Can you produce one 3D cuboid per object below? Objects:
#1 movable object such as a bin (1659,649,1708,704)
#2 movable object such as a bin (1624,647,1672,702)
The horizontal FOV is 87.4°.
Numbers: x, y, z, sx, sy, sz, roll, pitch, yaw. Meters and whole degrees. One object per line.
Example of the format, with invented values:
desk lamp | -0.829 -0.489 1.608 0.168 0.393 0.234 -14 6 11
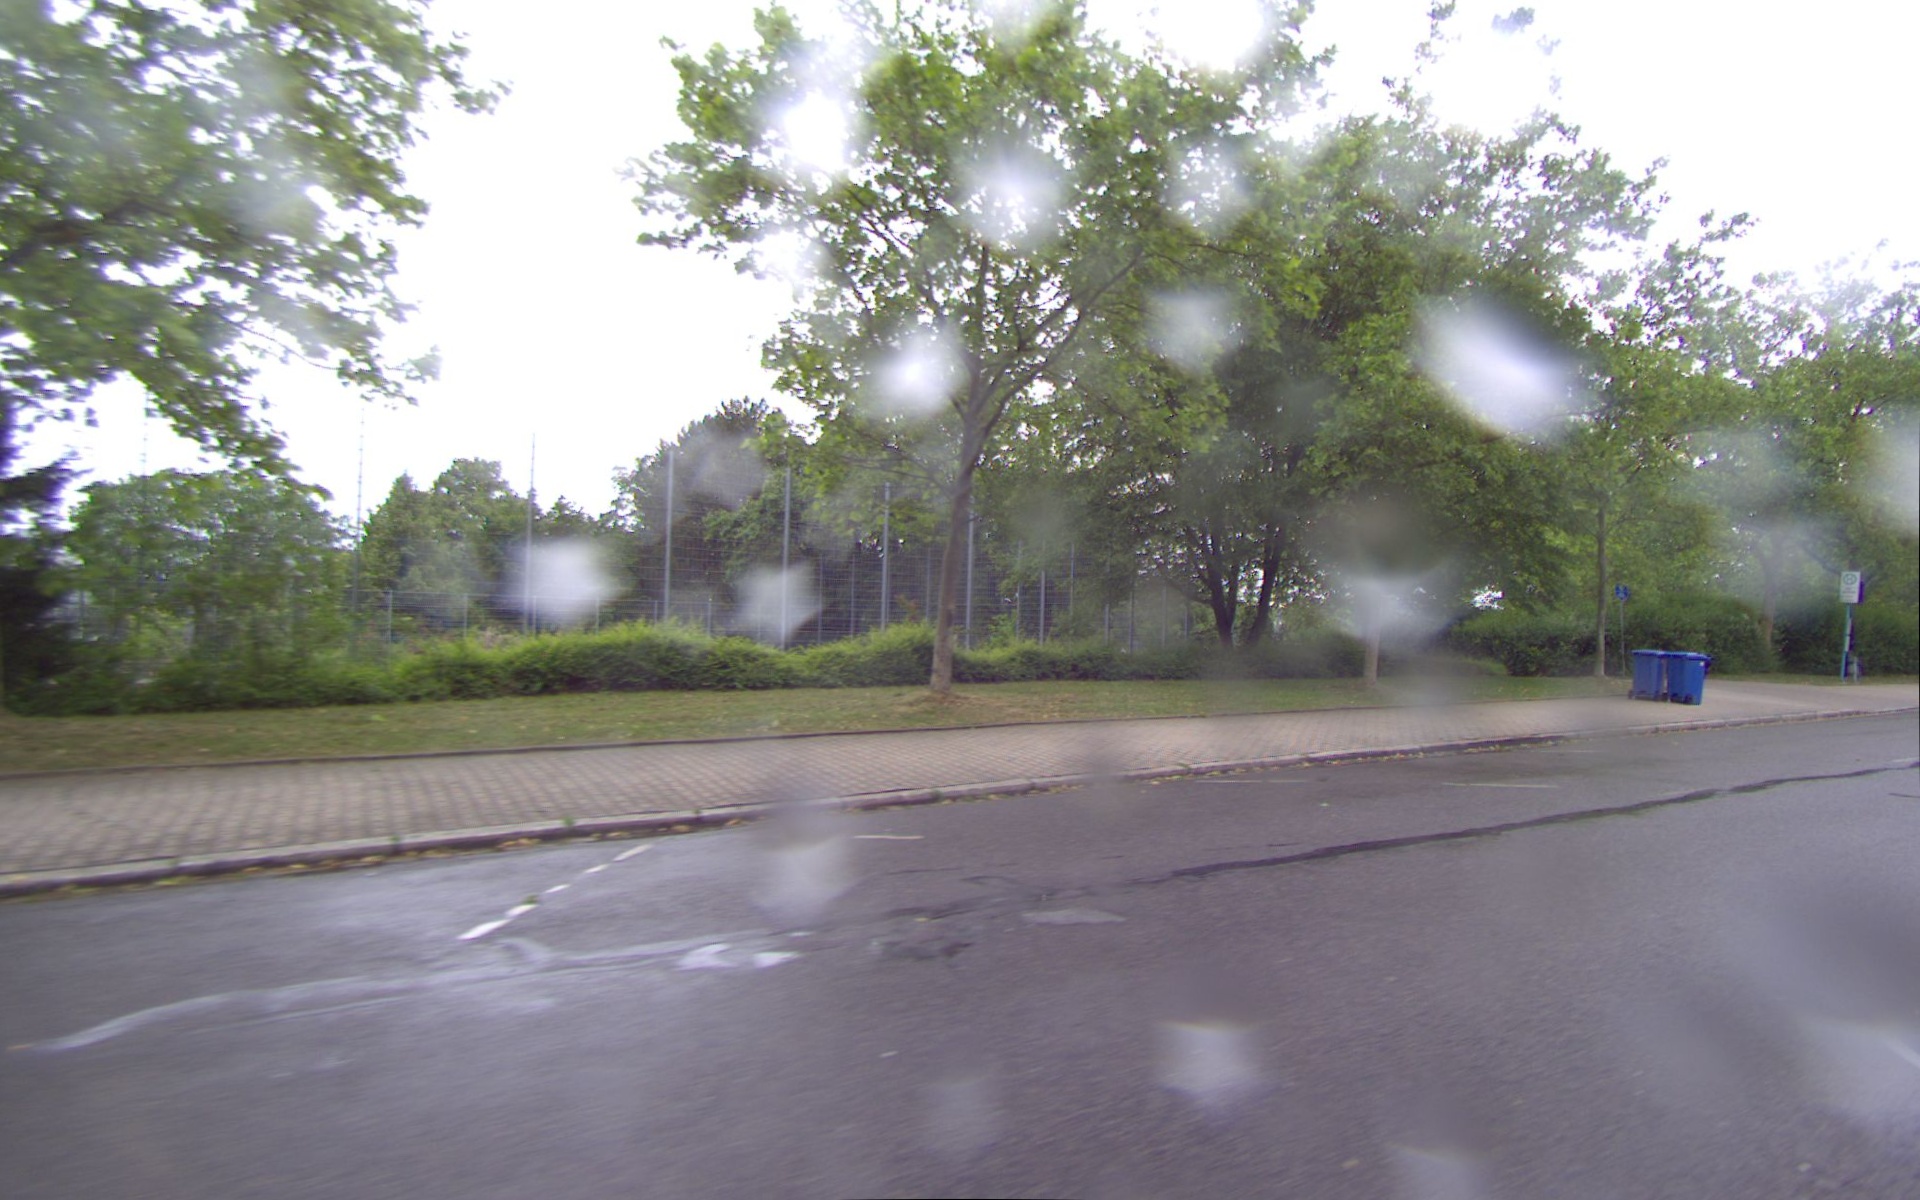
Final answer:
movable object such as a bin | 15.323 1.614 21.283 0.664 1.113 0.564 1 2 -29
movable object such as a bin | 14.869 1.598 21.712 0.664 1.113 0.564 1 2 -29
